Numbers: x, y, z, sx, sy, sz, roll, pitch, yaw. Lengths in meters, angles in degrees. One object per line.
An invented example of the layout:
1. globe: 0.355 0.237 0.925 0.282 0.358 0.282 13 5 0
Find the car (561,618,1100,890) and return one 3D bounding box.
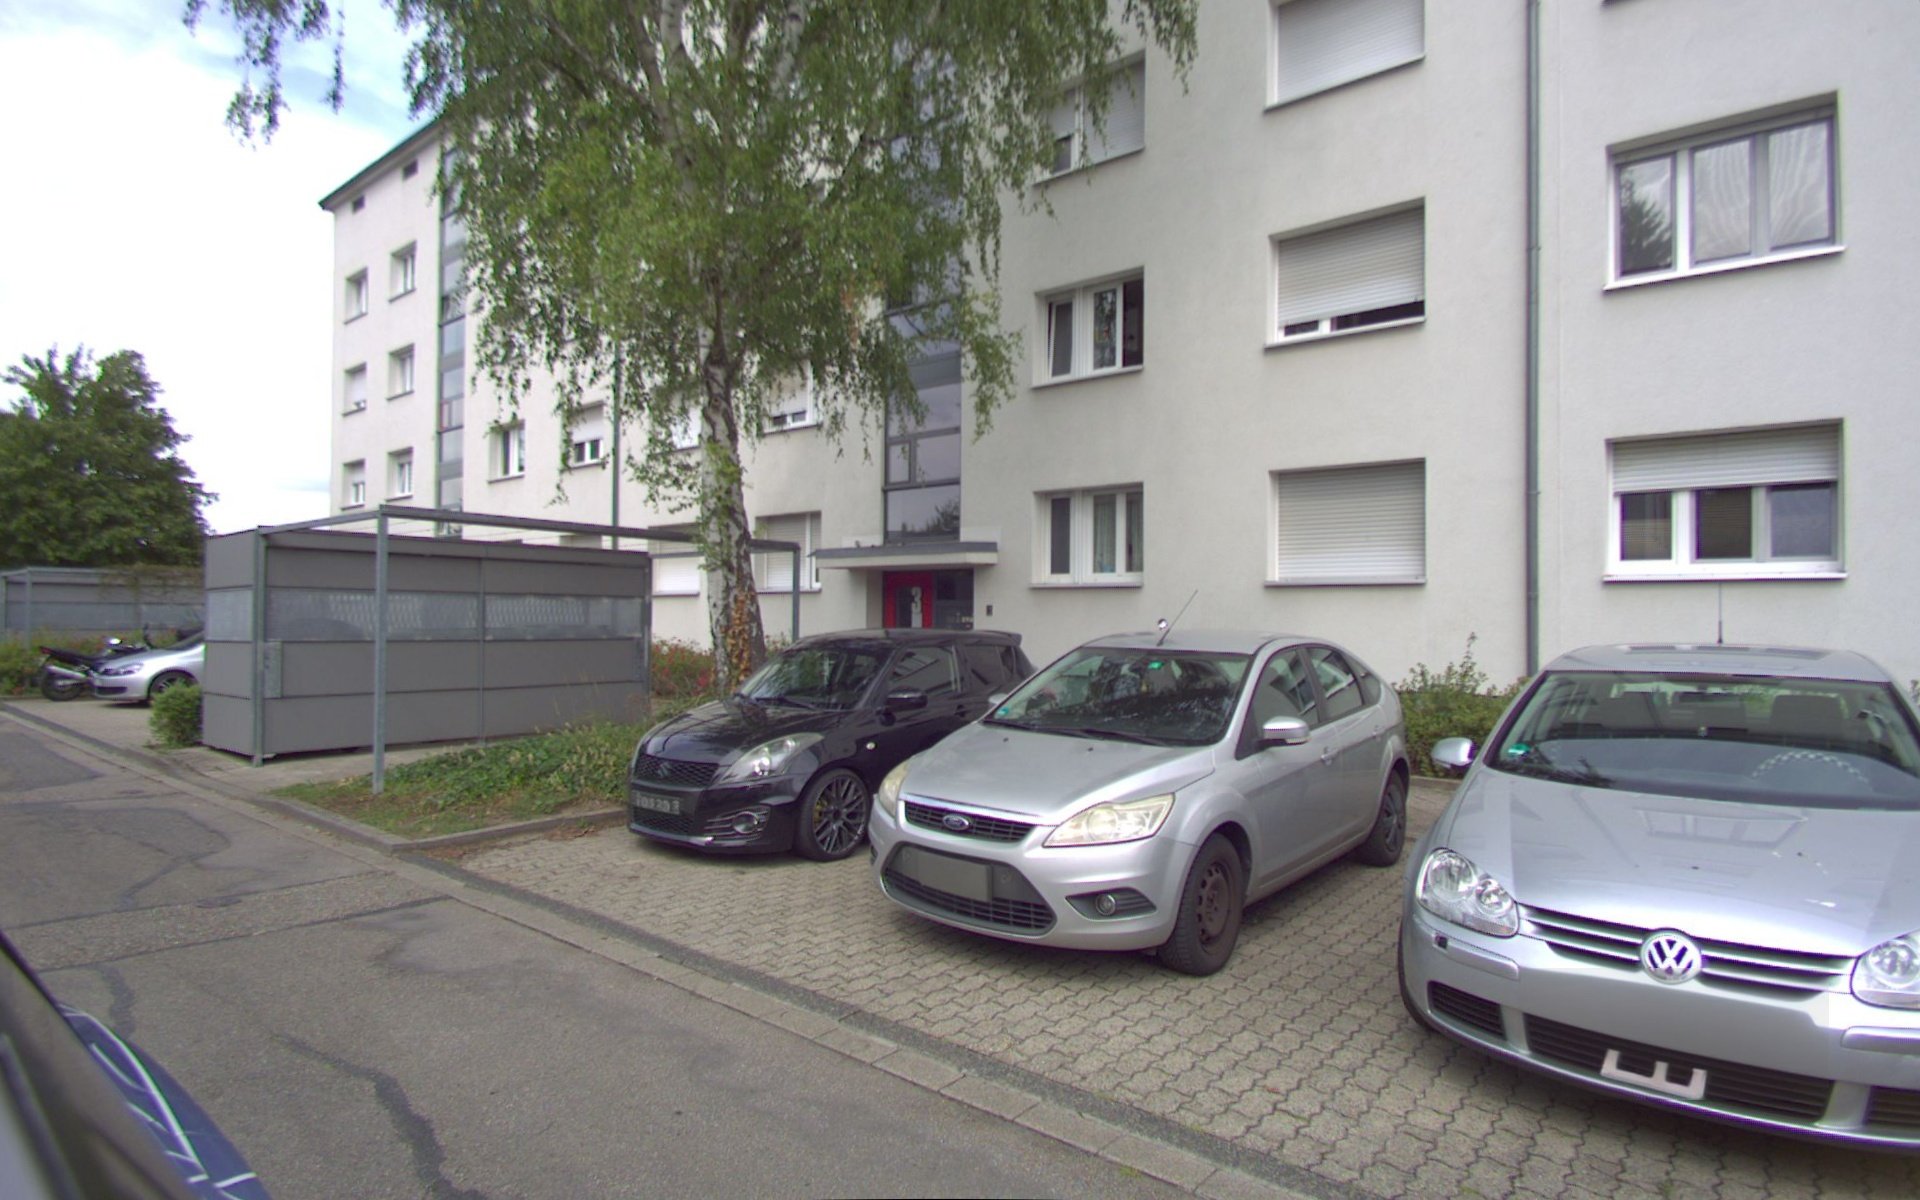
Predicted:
1. car: -0.728 0.942 7.806 1.780 1.516 4.011 -1 -3 39

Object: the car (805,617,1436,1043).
1. car: 1.228 0.900 5.758 1.780 1.516 4.011 -1 -3 39

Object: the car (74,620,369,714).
1. car: -13.243 1.195 18.339 1.902 1.497 3.945 -1 -4 41

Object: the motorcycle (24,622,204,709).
1. motorcycle: -15.330 1.185 18.423 0.713 1.475 2.353 -1 -4 39

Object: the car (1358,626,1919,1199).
1. car: 3.182 0.883 4.144 1.780 1.475 4.011 -1 -3 39
